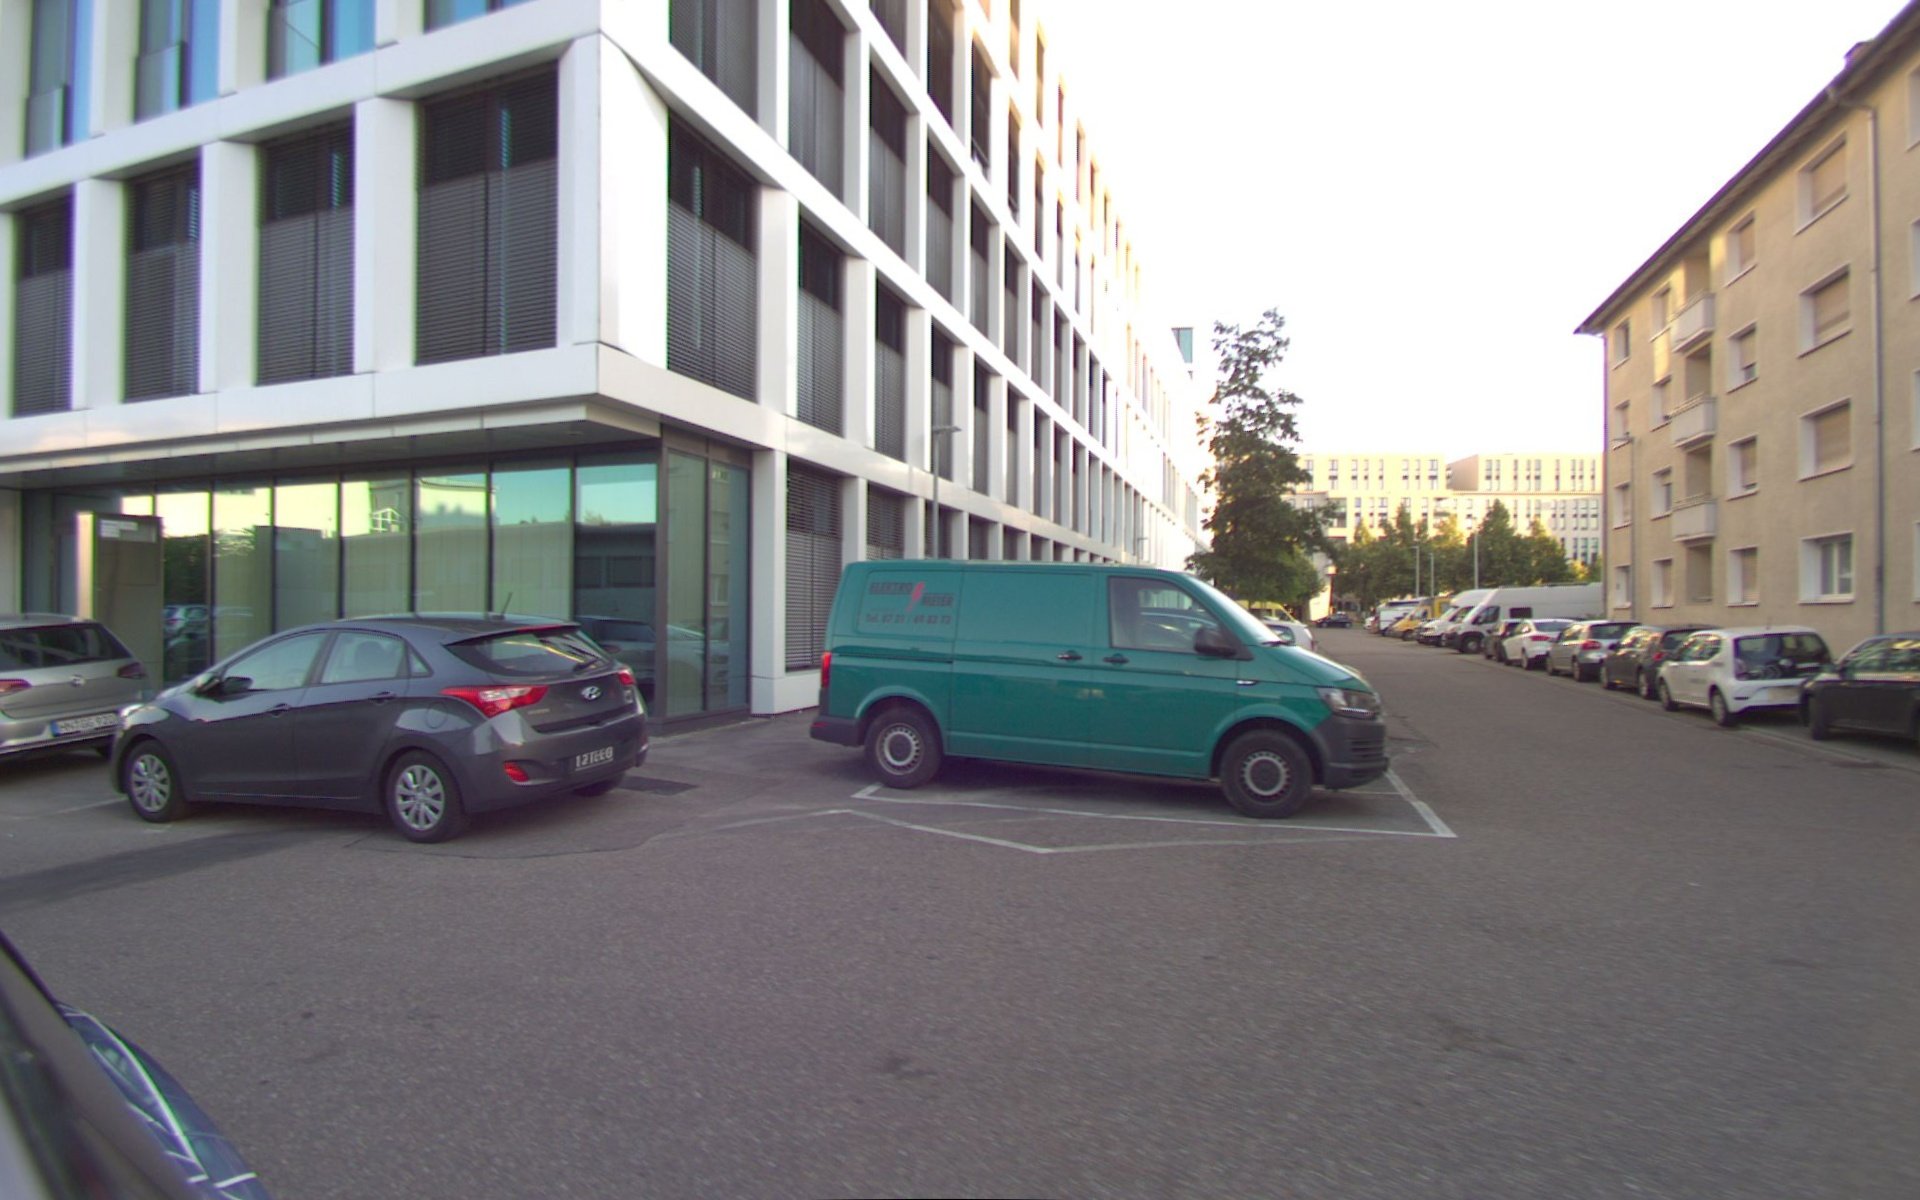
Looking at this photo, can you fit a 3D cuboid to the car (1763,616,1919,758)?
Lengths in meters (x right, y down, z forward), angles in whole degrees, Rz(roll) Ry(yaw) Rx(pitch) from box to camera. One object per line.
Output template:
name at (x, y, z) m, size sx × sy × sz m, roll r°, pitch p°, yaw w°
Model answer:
car at (12.036, 1.001, 12.334) m, size 1.862 × 1.512 × 4.003 m, roll -4°, pitch -2°, yaw 13°

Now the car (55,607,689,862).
car at (-4.374, 0.815, 7.589) m, size 4.297 × 1.490 × 1.774 m, roll 0°, pitch 1°, yaw 20°

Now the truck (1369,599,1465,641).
truck at (33.089, 1.467, 73.495) m, size 5.951 × 2.517 × 2.325 m, roll -5°, pitch -3°, yaw 18°

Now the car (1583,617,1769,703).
car at (14.504, 1.163, 20.790) m, size 1.865 × 1.495 × 3.926 m, roll -5°, pitch -2°, yaw 17°

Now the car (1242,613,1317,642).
car at (19.074, 1.635, 60.467) m, size 4.192 × 1.521 × 1.724 m, roll 2°, pitch 0°, yaw 20°

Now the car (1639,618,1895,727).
car at (12.965, 1.104, 16.608) m, size 1.865 × 1.495 × 3.926 m, roll -5°, pitch -2°, yaw 17°

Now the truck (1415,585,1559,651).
truck at (26.764, 0.947, 51.693) m, size 5.951 × 2.867 × 2.325 m, roll -5°, pitch -3°, yaw 18°

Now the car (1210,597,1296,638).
car at (19.911, 1.149, 68.974) m, size 5.468 × 2.554 × 1.726 m, roll 2°, pitch 0°, yaw 16°

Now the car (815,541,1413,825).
car at (1.253, 0.565, 8.720) m, size 4.652 × 1.995 × 1.792 m, roll 1°, pitch -1°, yaw 19°

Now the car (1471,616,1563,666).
car at (18.960, 1.356, 34.633) m, size 1.865 × 1.495 × 3.926 m, roll -5°, pitch -2°, yaw 17°

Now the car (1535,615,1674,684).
car at (16.100, 1.207, 25.516) m, size 1.865 × 1.495 × 3.926 m, roll -5°, pitch -2°, yaw 17°

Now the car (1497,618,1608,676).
car at (17.431, 1.346, 29.971) m, size 1.865 × 1.495 × 3.926 m, roll -5°, pitch -2°, yaw 17°

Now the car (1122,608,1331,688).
car at (5.726, 0.970, 21.810) m, size 4.167 × 1.467 × 1.724 m, roll 2°, pitch 0°, yaw 20°

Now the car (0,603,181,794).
car at (-9.685, 0.826, 9.450) m, size 4.148 × 1.490 × 1.707 m, roll 0°, pitch 2°, yaw 17°

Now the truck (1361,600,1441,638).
truck at (38.188, 1.649, 87.857) m, size 5.951 × 2.867 × 2.325 m, roll -5°, pitch -3°, yaw 18°

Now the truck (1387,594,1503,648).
truck at (29.628, 1.307, 62.073) m, size 5.951 × 2.867 × 2.325 m, roll -5°, pitch -3°, yaw 18°

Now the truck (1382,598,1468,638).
truck at (37.986, 1.492, 82.897) m, size 5.951 × 2.867 × 2.325 m, roll -5°, pitch -3°, yaw 18°

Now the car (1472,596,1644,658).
car at (22.141, 1.019, 37.764) m, size 4.960 × 1.928 × 2.325 m, roll -5°, pitch -2°, yaw 18°

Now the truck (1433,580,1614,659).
truck at (22.987, 0.831, 41.611) m, size 5.951 × 2.743 × 2.325 m, roll -5°, pitch -3°, yaw 18°
